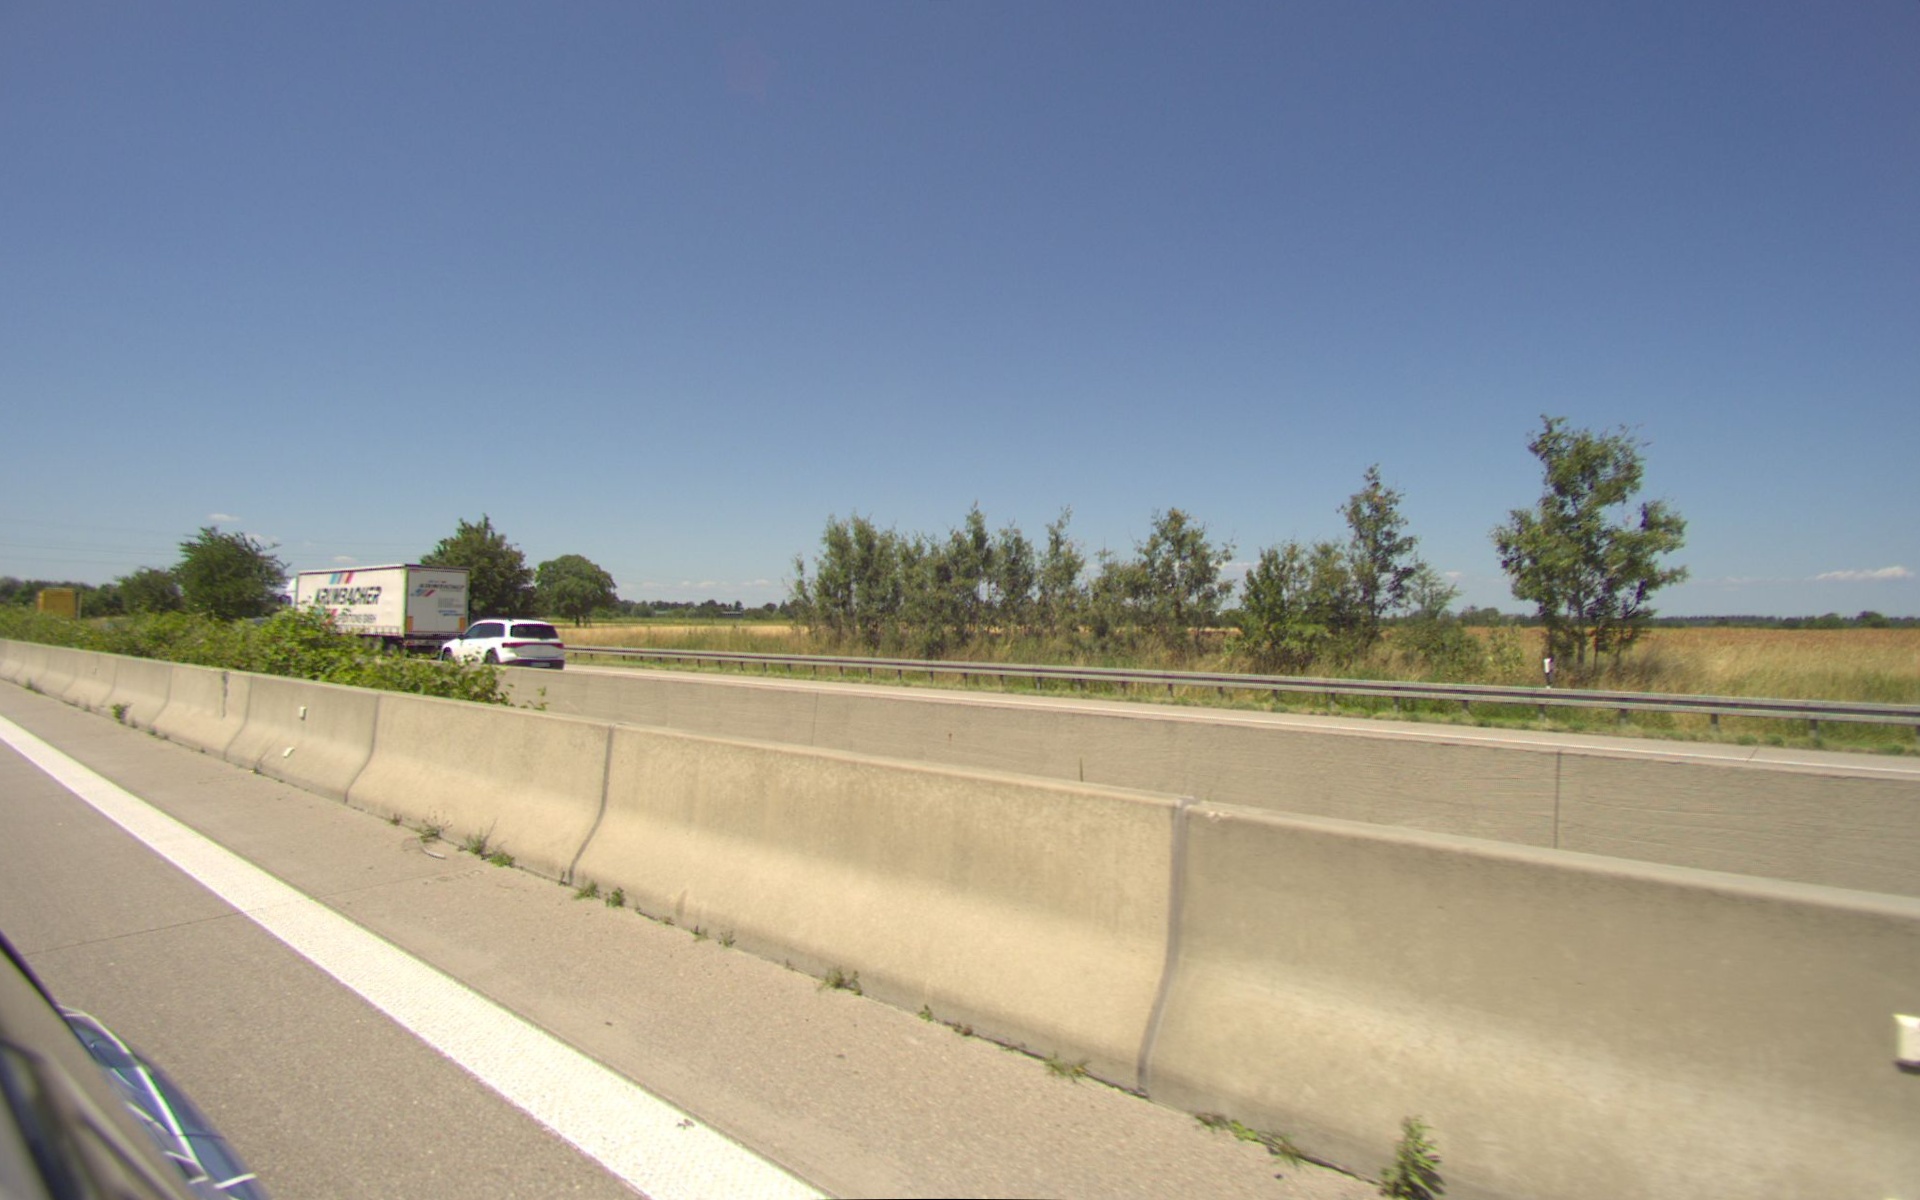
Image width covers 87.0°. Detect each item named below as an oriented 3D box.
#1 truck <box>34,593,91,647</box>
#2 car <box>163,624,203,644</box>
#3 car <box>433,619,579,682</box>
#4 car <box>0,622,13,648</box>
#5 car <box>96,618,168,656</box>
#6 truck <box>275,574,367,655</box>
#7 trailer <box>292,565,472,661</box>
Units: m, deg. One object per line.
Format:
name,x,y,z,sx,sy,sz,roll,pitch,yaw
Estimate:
truck,-71.137,1.527,80.172,5.538,4.111,2.715,-1,0,41
car,-44.194,1.895,57.554,2.897,1.070,1.290,-1,0,41
car,-12.608,1.349,28.011,4.367,1.596,1.973,-1,-3,41
car,-69.935,2.501,73.110,4.711,1.817,1.688,-1,-2,40
car,-35.376,1.538,43.219,4.115,1.495,1.709,-1,0,41
truck,-32.049,0.691,50.720,4.449,3.869,2.741,-1,0,41
trailer,-26.531,0.593,45.897,13.821,3.831,2.741,-1,0,41
